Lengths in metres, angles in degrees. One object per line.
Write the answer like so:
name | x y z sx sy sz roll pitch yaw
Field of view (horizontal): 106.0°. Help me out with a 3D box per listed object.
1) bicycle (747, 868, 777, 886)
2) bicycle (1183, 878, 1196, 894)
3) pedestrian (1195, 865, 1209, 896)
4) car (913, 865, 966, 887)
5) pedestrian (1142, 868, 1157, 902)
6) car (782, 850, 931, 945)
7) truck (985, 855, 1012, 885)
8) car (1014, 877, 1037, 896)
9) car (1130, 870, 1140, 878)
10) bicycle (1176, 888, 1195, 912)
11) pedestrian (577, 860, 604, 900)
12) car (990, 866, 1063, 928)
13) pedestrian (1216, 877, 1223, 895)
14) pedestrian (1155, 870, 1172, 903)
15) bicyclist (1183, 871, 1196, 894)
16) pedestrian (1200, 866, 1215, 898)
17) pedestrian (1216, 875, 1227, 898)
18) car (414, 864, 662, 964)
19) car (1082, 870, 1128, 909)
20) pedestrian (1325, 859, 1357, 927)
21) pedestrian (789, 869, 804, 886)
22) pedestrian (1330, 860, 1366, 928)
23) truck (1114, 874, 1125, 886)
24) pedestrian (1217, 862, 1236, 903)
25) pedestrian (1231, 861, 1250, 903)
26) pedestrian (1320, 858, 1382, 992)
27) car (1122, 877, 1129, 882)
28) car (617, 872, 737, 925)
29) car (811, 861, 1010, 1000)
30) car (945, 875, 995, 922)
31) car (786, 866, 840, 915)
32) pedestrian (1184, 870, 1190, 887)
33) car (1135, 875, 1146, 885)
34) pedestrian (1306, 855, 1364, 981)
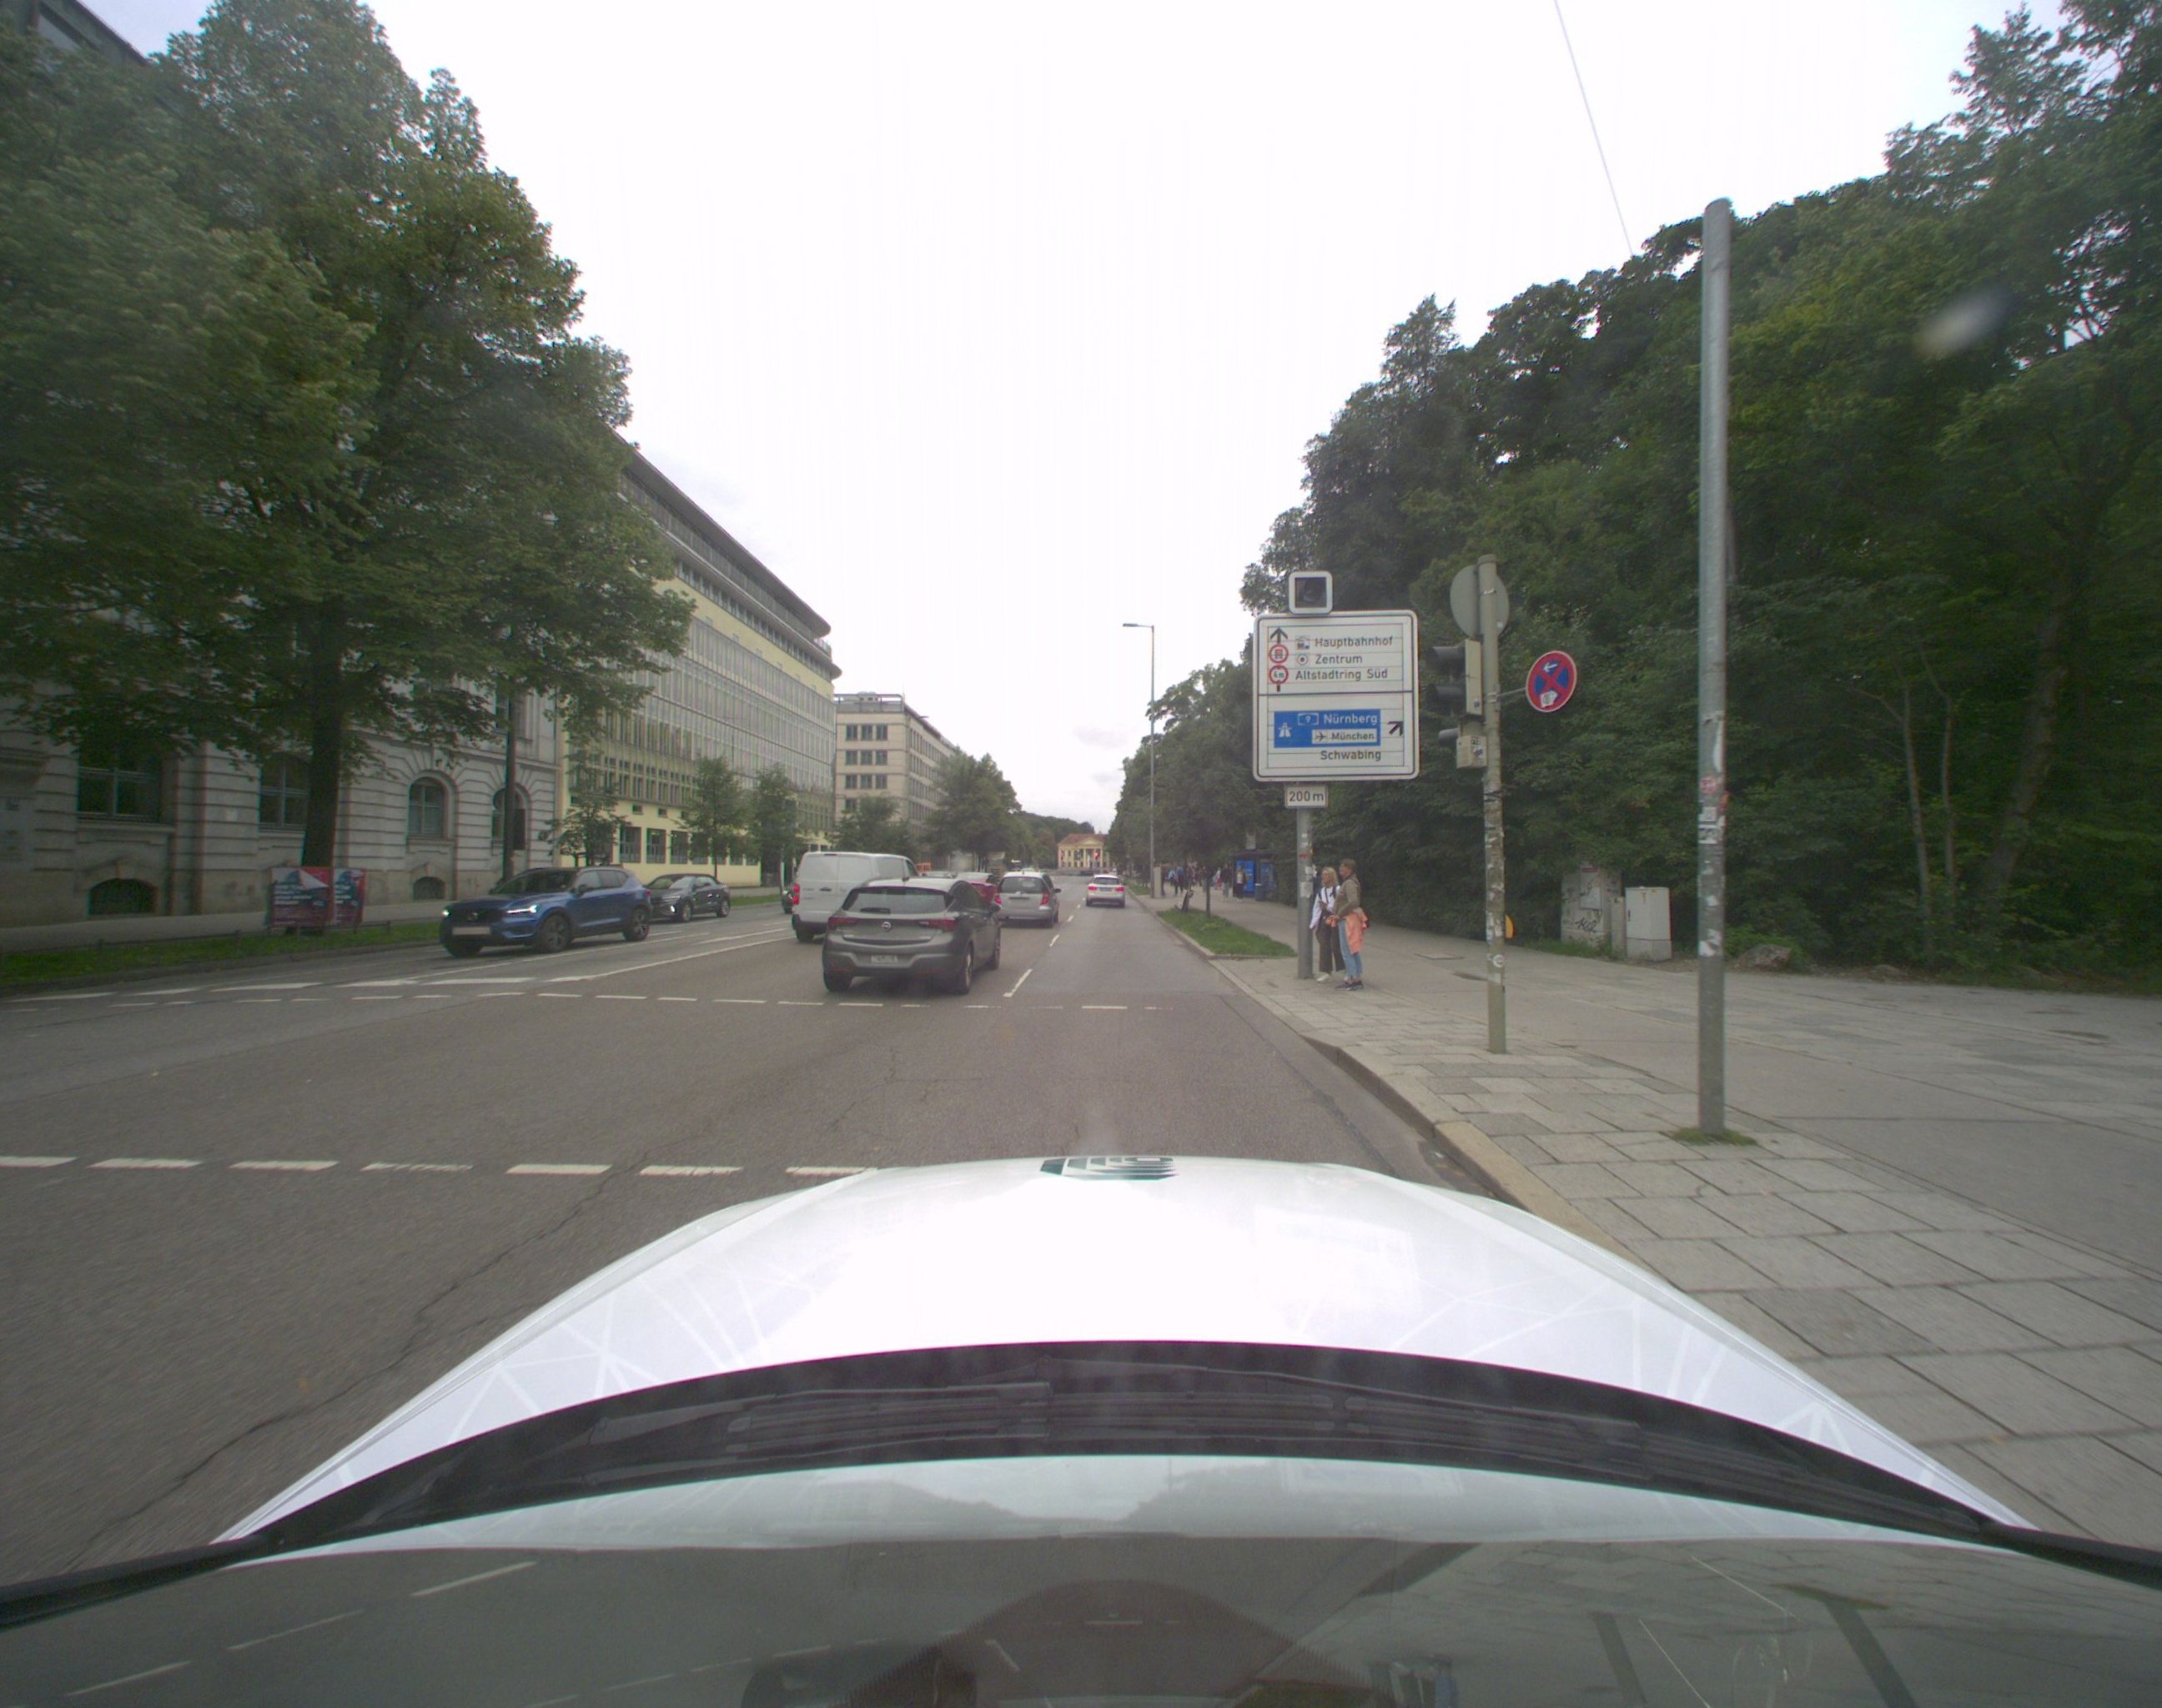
bicycle | -24.161 1.765 61.733 2.004 1.319 0.574 2 -1 -4
bicycle | 7.221 2.109 54.363 0.672 1.030 2.013 2 -1 2
pedestrian | 7.119 1.547 48.019 0.705 1.809 0.639 2 -1 1
car | -16.162 2.493 93.029 5.666 2.536 2.154 0 -1 -3
pedestrian | 3.745 1.691 44.467 0.705 1.809 0.639 2 -1 1
car | -4.860 0.901 18.451 1.891 1.848 4.956 0 -1 1
truck | -10.969 2.116 108.739 2.909 3.775 7.658 2 -1 -2
car | -5.740 3.349 84.389 1.850 1.749 4.632 -1 -1 2
car | 10.181 3.857 154.205 1.717 1.465 4.778 0 -1 2
bicycle | 3.835 1.682 29.972 0.491 0.794 1.890 2 -1 2
pedestrian | -22.140 1.168 36.776 0.613 1.777 0.836 2 -1 2
car | -1.547 1.213 24.353 1.773 1.654 4.001 2 -1 1
pedestrian | 10.604 2.440 62.484 0.455 1.326 0.649 1 -1 7
pedestrian | 4.802 1.880 47.283 0.795 1.881 0.547 1 -1 38
bicyclist | 7.240 1.896 54.342 0.705 1.562 0.639 2 -1 1
pedestrian | 7.254 1.590 46.809 0.705 1.809 0.950 2 -1 1
pedestrian | 10.481 2.422 60.907 0.722 1.691 0.649 1 -1 7
car | -10.355 1.063 16.021 1.833 1.656 4.352 -1 -1 2
car | 1.069 1.616 38.188 1.775 1.645 3.995 2 -1 -3
pedestrian | 7.254 1.075 22.734 0.668 1.839 0.641 2 -1 2
pedestrian | -23.278 1.899 66.622 0.834 1.364 1.086 0 -1 1
pedestrian | 7.473 1.099 22.801 0.748 1.839 0.757 2 -1 2
truck | 12.341 8.404 264.319 3.313 3.367 8.665 2 -1 2
pedestrian | 6.784 1.321 38.077 0.705 1.915 0.956 2 -1 1
pedestrian | 7.434 1.287 37.959 0.705 1.915 0.956 2 -1 1
pedestrian | 3.644 0.935 11.024 0.607 1.761 0.634 0 -1 -5
car | 12.411 7.169 226.960 1.717 1.324 4.030 0 0 2
car | -12.983 1.375 26.490 1.728 1.576 4.058 0 -1 2
car | -2.150 0.915 11.418 1.703 1.552 4.003 2 -1 3
car | -4.373 1.721 32.459 1.777 1.654 3.991 2 -1 -7
car | -10.302 1.360 31.418 1.833 1.750 4.234 1 -1 -18
pedestrian | 11.973 2.774 92.163 0.585 1.822 0.850 2 -1 2
car | 10.403 4.537 141.974 1.820 1.550 4.754 0 -1 2
pedestrian | 3.637 0.903 11.717 0.623 1.761 0.635 0 -1 -3
